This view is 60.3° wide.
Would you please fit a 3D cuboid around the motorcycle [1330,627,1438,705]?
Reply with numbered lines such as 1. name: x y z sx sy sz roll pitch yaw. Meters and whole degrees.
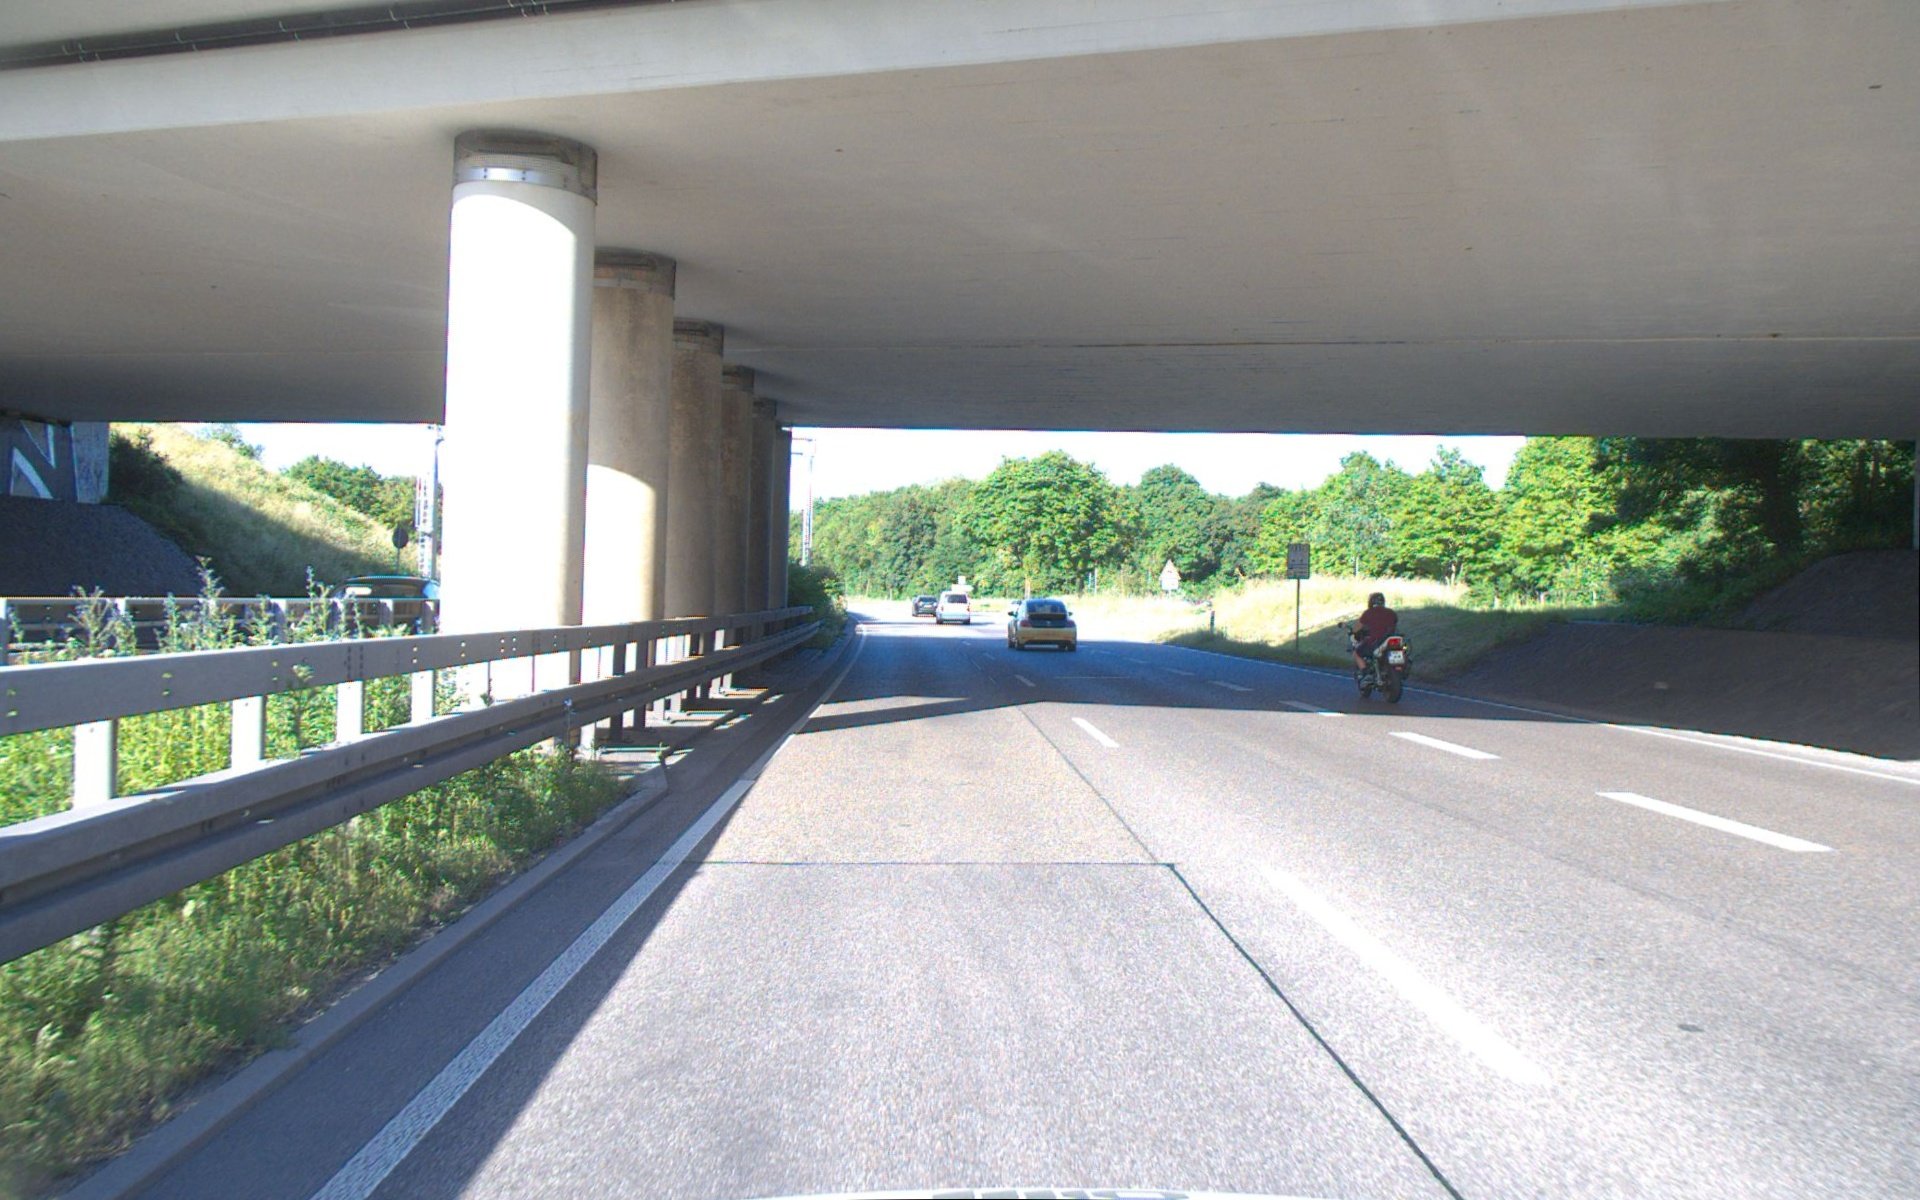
1. motorcycle: 6.529 0.990 25.634 0.800 1.088 2.834 1 0 -3

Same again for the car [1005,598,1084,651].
1. car: 2.464 0.682 49.089 1.860 1.496 3.996 0 0 -5

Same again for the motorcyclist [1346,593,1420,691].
1. motorcyclist: 6.539 0.641 25.608 0.800 1.473 1.093 1 0 -3

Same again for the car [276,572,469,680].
1. car: -9.145 0.376 26.104 1.714 1.532 4.222 1 0 -3

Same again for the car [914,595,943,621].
1. car: -2.282 0.562 118.045 1.860 1.798 3.996 0 0 -5

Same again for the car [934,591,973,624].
1. car: -0.372 0.423 92.418 1.860 1.798 3.996 0 0 -5
